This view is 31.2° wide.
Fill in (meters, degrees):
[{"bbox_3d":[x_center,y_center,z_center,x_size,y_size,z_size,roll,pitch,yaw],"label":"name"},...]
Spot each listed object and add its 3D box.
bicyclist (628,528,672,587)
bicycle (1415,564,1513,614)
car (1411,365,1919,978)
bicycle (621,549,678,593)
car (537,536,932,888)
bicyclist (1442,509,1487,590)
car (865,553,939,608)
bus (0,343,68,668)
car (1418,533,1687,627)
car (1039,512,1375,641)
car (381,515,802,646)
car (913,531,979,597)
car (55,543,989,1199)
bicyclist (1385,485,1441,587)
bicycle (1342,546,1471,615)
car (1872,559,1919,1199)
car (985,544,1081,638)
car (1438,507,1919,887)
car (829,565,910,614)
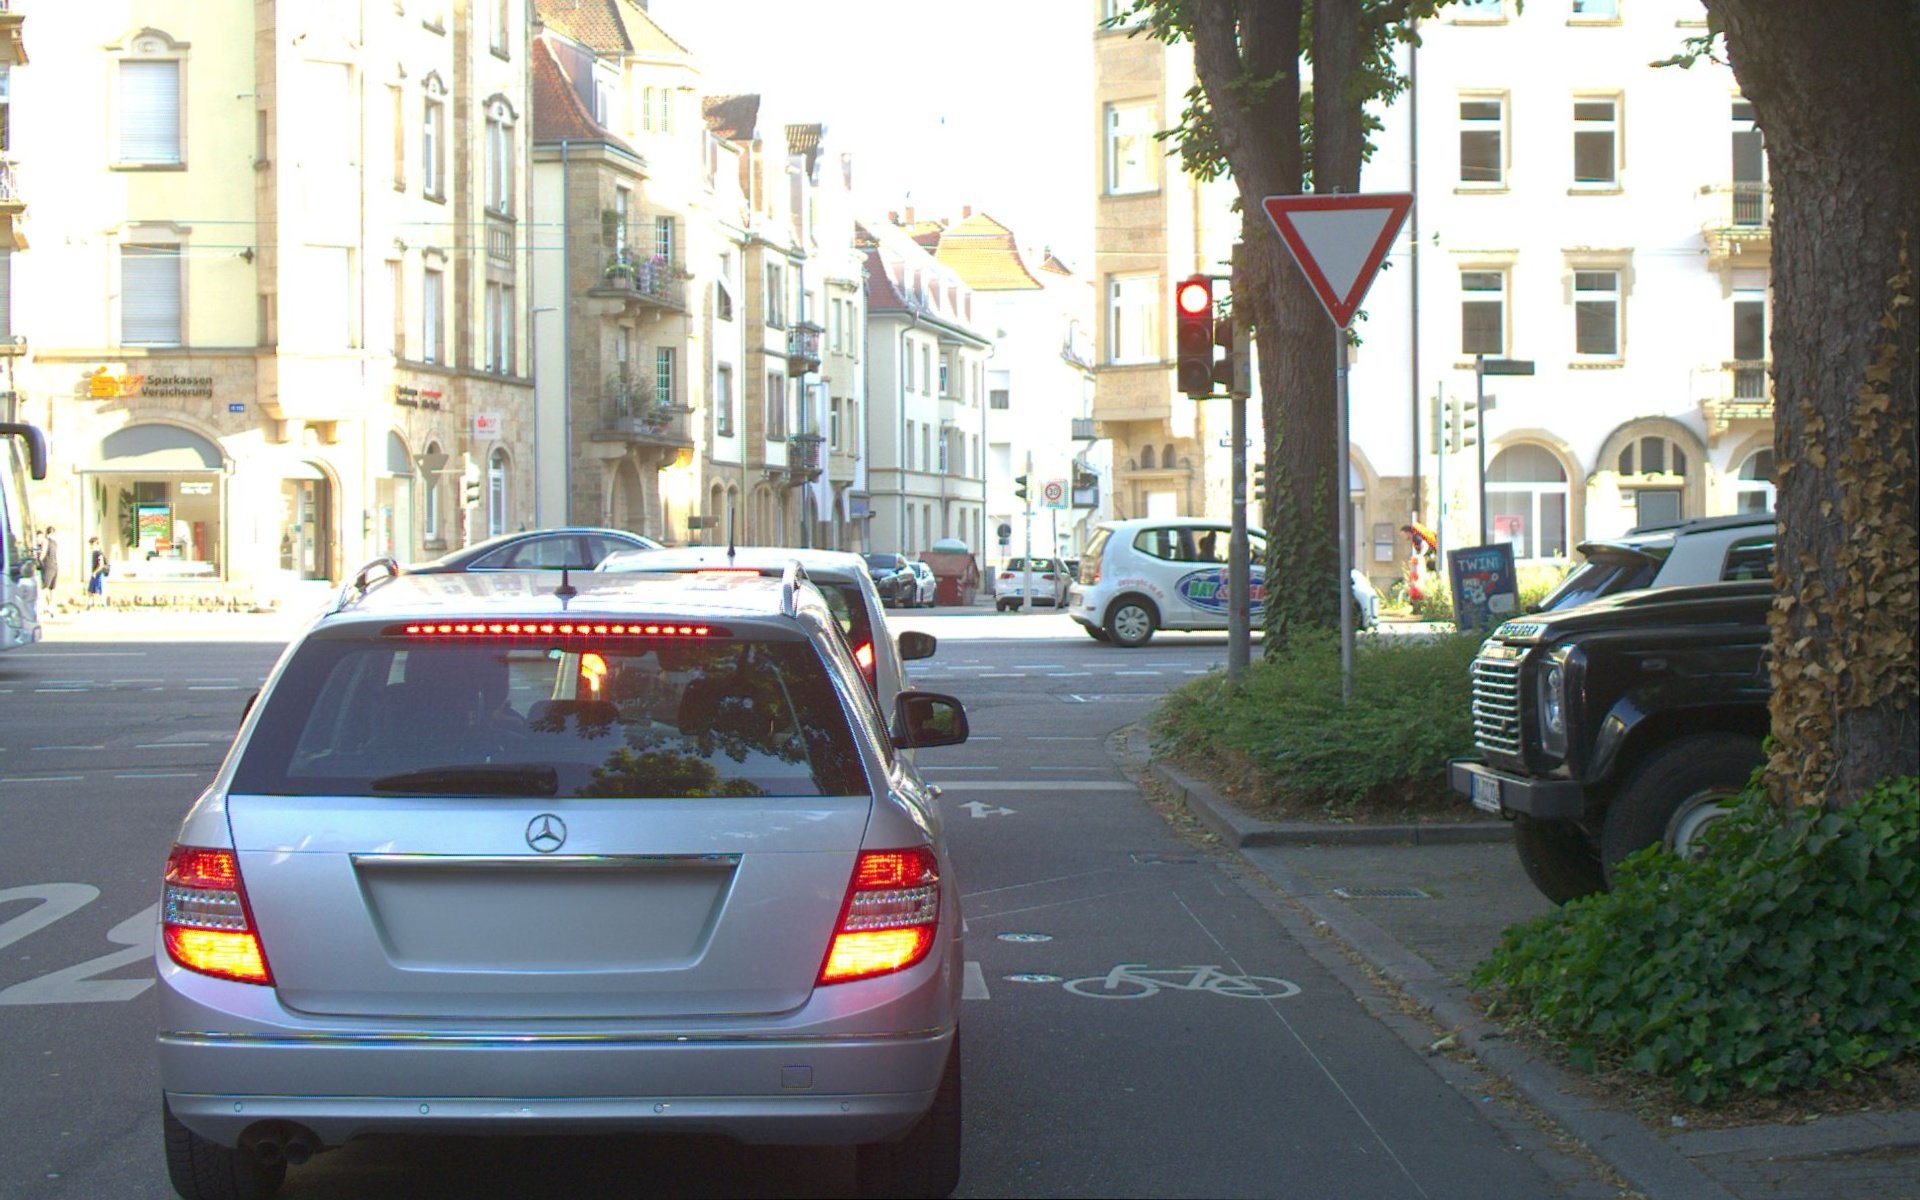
[{"bbox_3d":[-6.835,-0.941,75.772,0.771,1.285,0.752,1,1,11],"label":"bicyclist"},{"bbox_3d":[8.941,-0.194,61.041,1.617,0.873,0.637,0,1,-5],"label":"bicycle"},{"bbox_3d":[4.039,0.189,12.510,4.464,2.029,1.701,-1,1,-4],"label":"car"},{"bbox_3d":[-6.837,-0.648,75.778,0.771,0.930,1.939,1,2,11],"label":"bicycle"},{"bbox_3d":[-1.027,0.426,16.385,1.619,1.442,4.345,0,1,-3],"label":"car"},{"bbox_3d":[8.955,-0.895,61.025,0.643,1.421,0.637,0,1,-5],"label":"bicyclist"},{"bbox_3d":[-1.851,-0.649,110.991,1.835,1.657,3.999,0,2,8],"label":"car"},{"bbox_3d":[-14.497,-0.895,34.484,10.450,3.190,2.912,-1,1,-8],"label":"bus"},{"bbox_3d":[7.746,-0.277,45.035,3.221,1.177,1.320,-1,1,-9],"label":"car"},{"bbox_3d":[2.878,-0.291,40.339,3.685,1.444,1.516,-1,1,-9],"label":"car"},{"bbox_3d":[-4.246,-0.245,39.472,4.687,1.424,1.719,-1,1,-9],"label":"car"},{"bbox_3d":[-0.468,-1.271,119.680,1.787,2.196,3.999,0,2,8],"label":"car"},{"bbox_3d":[-0.937,0.592,8.868,1.777,1.447,4.549,0,1,-2],"label":"car"},{"bbox_3d":[8.286,-1.169,62.911,0.891,1.853,0.637,0,1,-5],"label":"bicyclist"},{"bbox_3d":[8.162,-0.365,62.917,2.256,1.242,0.637,0,1,-5],"label":"bicycle"},{"bbox_3d":[3.961,0.605,6.934,3.723,1.447,1.709,-1,1,-4],"label":"car"},{"bbox_3d":[1.890,-0.262,88.248,2.031,2.272,3.999,0,2,8],"label":"car"},{"bbox_3d":[4.182,0.370,15.450,3.723,1.564,1.709,-1,1,-4],"label":"car"},{"bbox_3d":[-2.735,-0.334,104.800,1.835,1.397,3.999,0,2,8],"label":"car"}]
